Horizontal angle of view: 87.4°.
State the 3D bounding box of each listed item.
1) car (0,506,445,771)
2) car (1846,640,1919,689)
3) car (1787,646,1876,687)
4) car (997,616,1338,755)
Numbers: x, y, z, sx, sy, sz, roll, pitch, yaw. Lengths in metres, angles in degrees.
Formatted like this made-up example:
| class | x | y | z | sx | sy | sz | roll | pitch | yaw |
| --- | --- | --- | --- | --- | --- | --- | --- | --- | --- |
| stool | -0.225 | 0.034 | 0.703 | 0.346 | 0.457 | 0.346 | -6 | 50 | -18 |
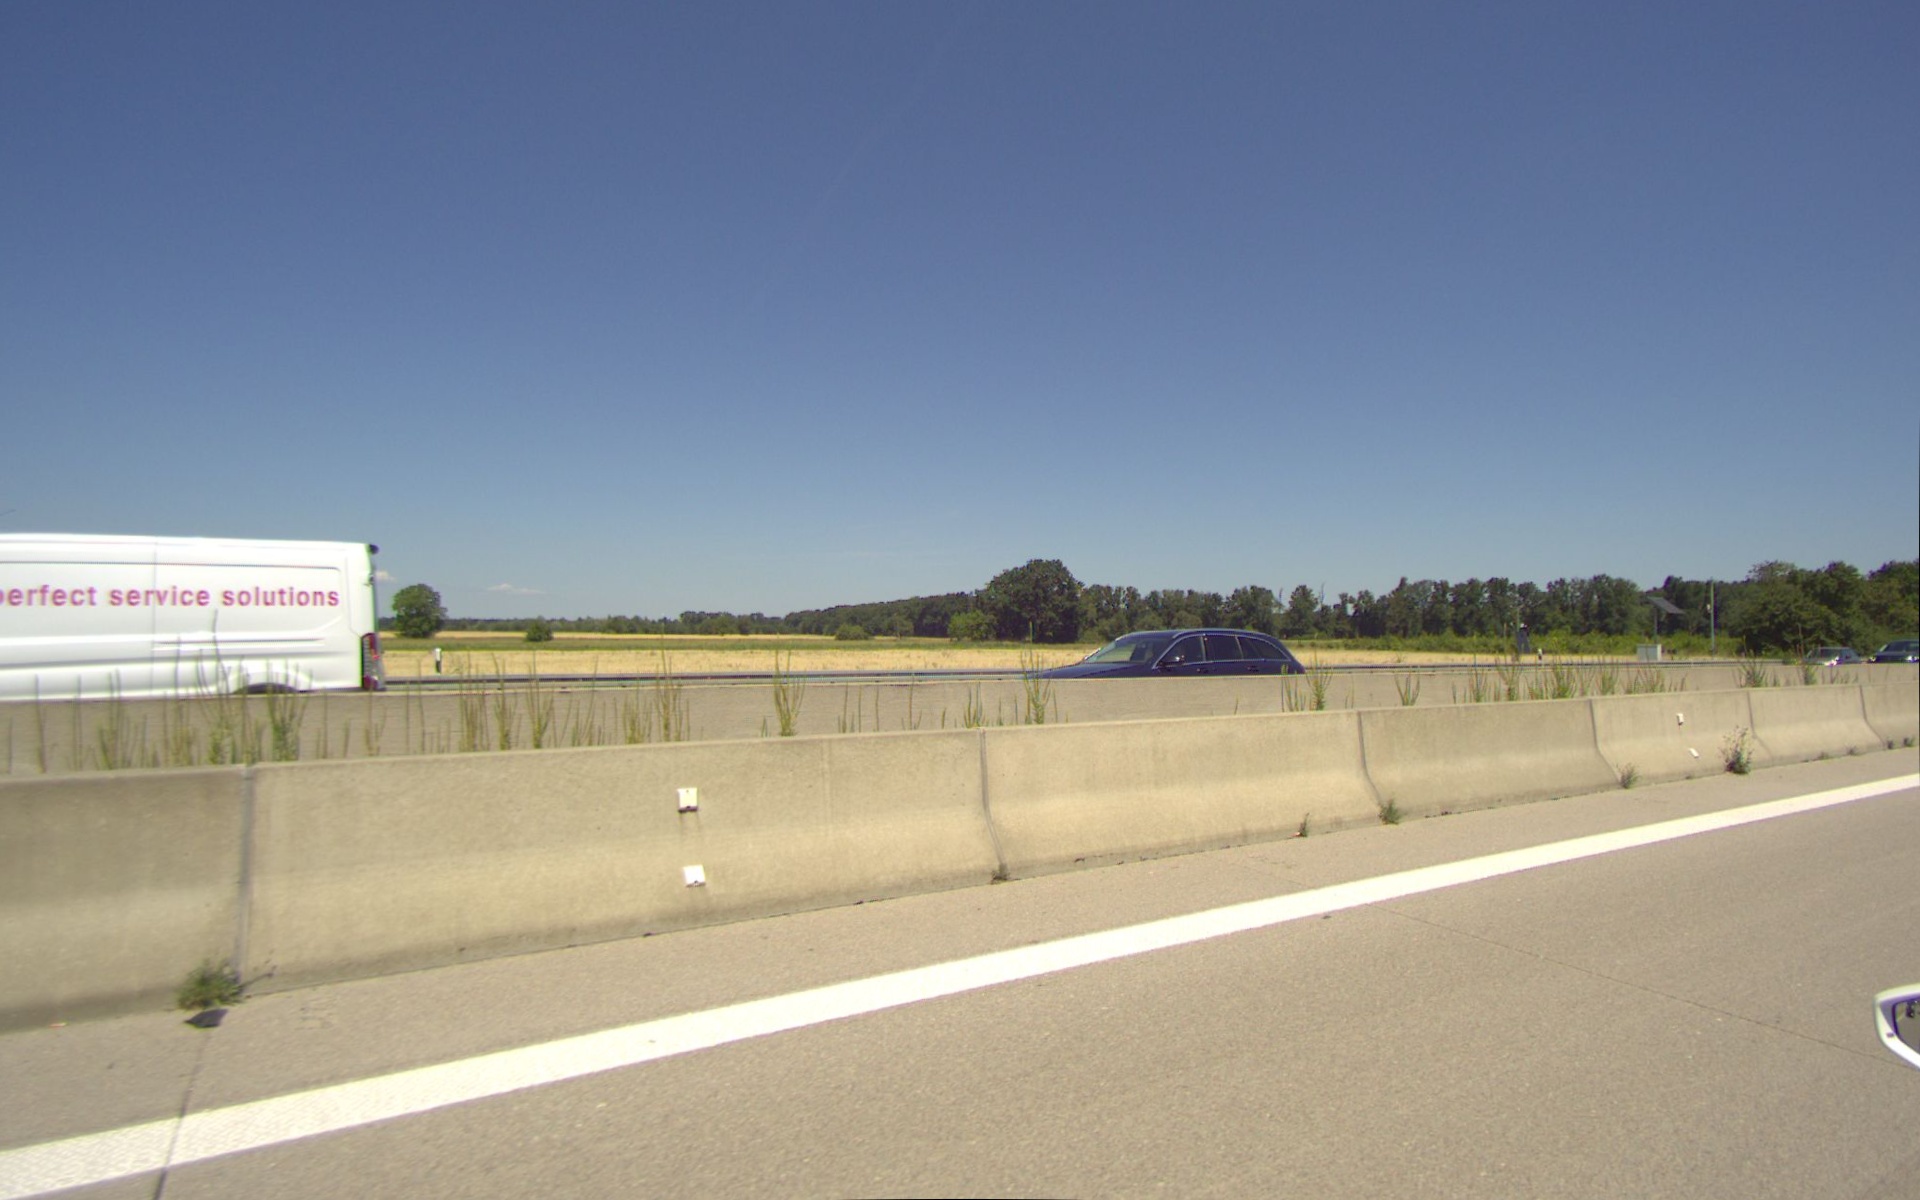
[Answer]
| class | x | y | z | sx | sy | sz | roll | pitch | yaw |
| --- | --- | --- | --- | --- | --- | --- | --- | --- | --- |
| car | -9.149 | 0.381 | 11.012 | 6.057 | 2.553 | 2.200 | 1 | 0 | -32 |
| car | 39.983 | 2.717 | 42.880 | 4.350 | 1.940 | 1.984 | 1 | 0 | -30 |
| car | 41.531 | 3.119 | 47.847 | 3.952 | 1.806 | 1.985 | 1 | 0 | -29 |
| car | 2.975 | 1.100 | 14.172 | 4.534 | 1.639 | 1.984 | 1 | 0 | -30 |
